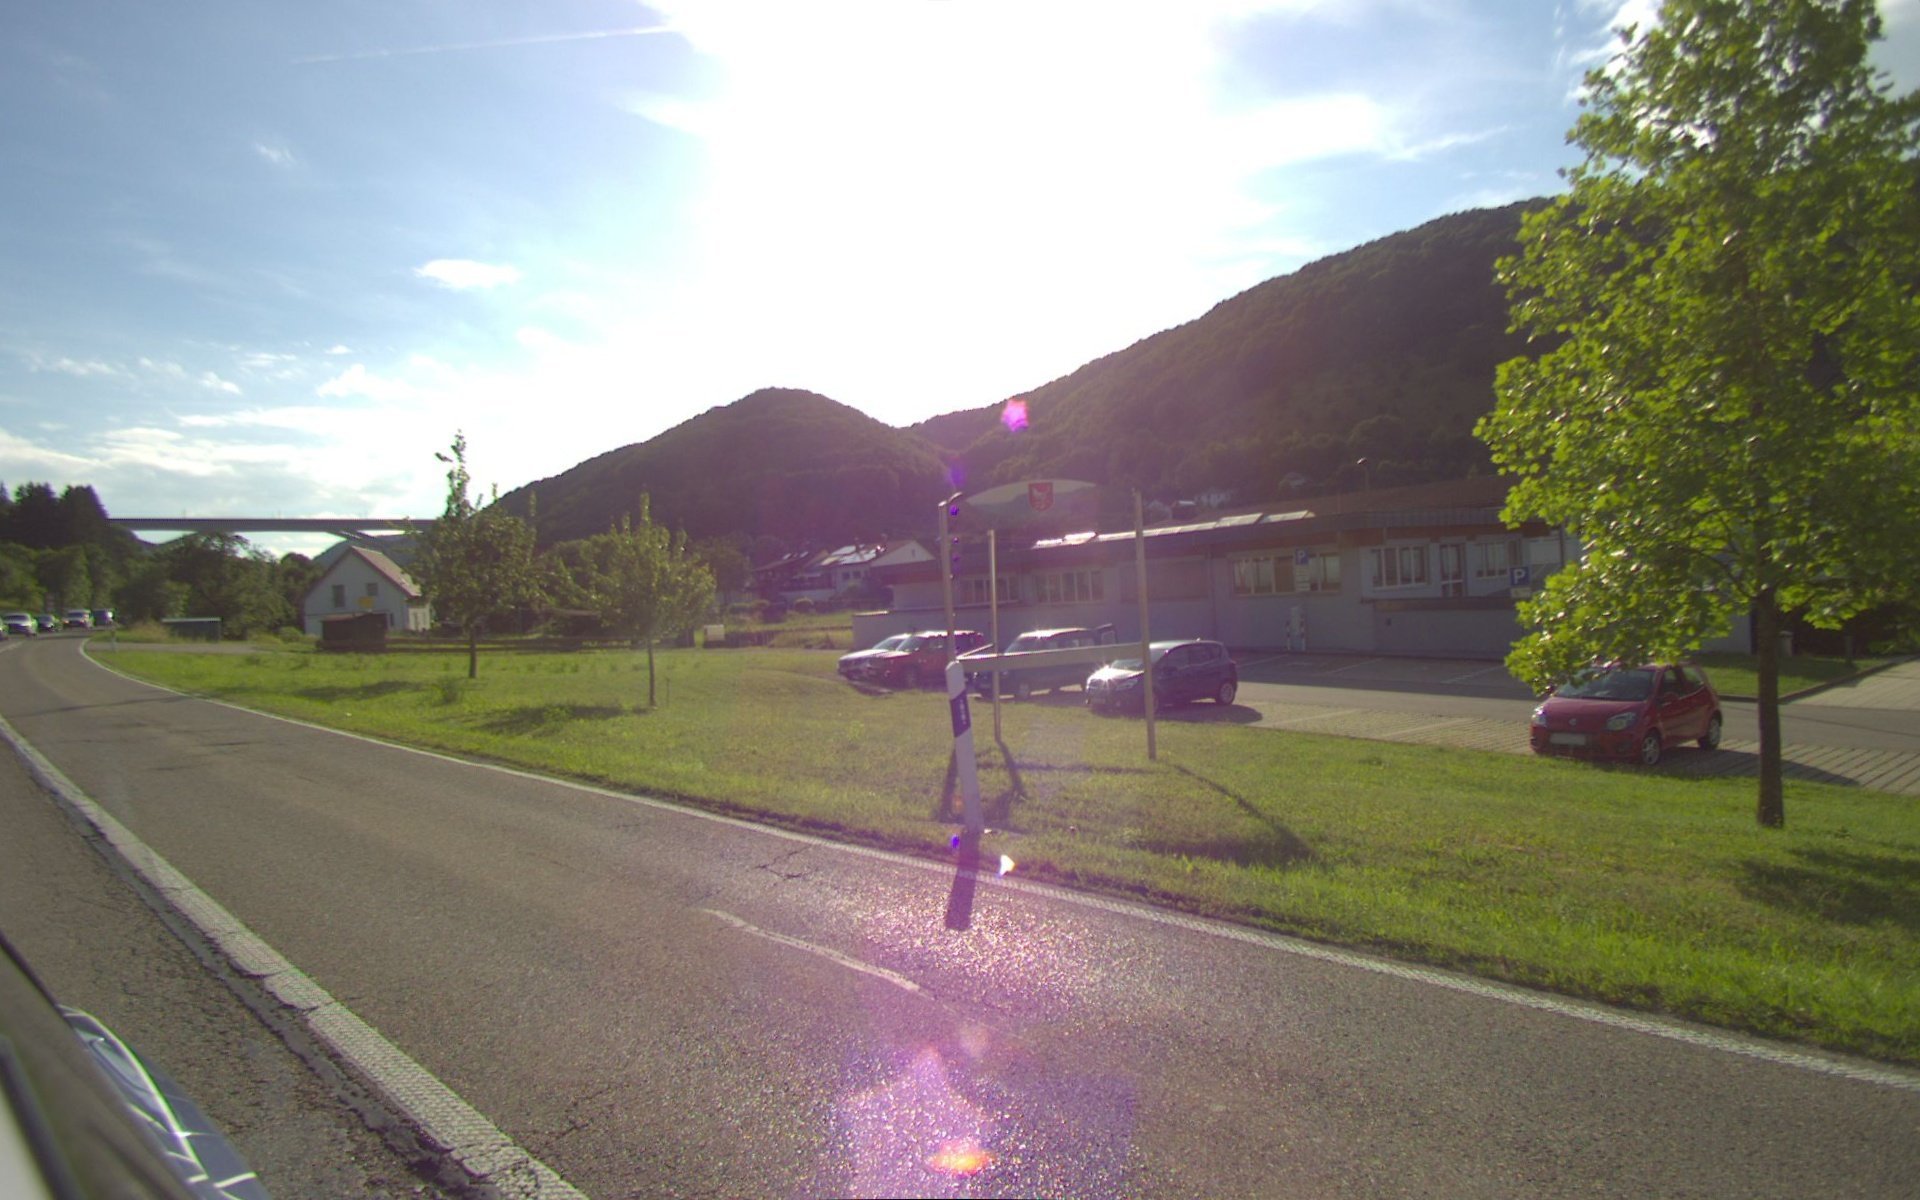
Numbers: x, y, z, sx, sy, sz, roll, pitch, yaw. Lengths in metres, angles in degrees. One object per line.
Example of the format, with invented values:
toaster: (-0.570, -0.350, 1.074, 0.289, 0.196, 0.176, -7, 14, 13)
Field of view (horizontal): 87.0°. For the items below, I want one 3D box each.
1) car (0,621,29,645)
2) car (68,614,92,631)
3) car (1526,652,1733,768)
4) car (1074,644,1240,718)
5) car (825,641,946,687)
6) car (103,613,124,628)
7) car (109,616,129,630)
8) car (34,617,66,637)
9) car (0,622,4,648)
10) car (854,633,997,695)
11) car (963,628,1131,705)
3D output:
car: (-64.913, 2.241, 69.243, 3.681, 1.490, 1.607, -1, 0, 45)
car: (-83.235, 2.137, 95.670, 1.606, 1.490, 3.683, -1, 0, -42)
car: (10.685, 1.643, 16.078, 3.672, 1.408, 1.619, -1, 0, -38)
car: (4.715, 1.861, 23.997, 3.957, 1.463, 1.687, -1, -2, -39)
car: (-2.590, 2.207, 35.437, 3.835, 1.379, 1.857, 0, 0, -36)
car: (-90.378, 2.170, 108.052, 1.605, 1.490, 3.687, -1, 0, -38)
car: (-97.702, 2.626, 117.579, 1.605, 1.490, 3.687, -1, 0, -38)
car: (-73.474, 2.189, 81.744, 1.605, 1.490, 3.687, -1, 0, -38)
car: (-57.581, 2.052, 59.693, 3.681, 1.490, 1.607, -1, 0, 45)
car: (-1.089, 2.003, 32.587, 4.262, 1.682, 1.853, -1, 0, -33)
car: (2.519, 1.784, 28.540, 4.928, 1.807, 1.688, -1, 0, -39)
